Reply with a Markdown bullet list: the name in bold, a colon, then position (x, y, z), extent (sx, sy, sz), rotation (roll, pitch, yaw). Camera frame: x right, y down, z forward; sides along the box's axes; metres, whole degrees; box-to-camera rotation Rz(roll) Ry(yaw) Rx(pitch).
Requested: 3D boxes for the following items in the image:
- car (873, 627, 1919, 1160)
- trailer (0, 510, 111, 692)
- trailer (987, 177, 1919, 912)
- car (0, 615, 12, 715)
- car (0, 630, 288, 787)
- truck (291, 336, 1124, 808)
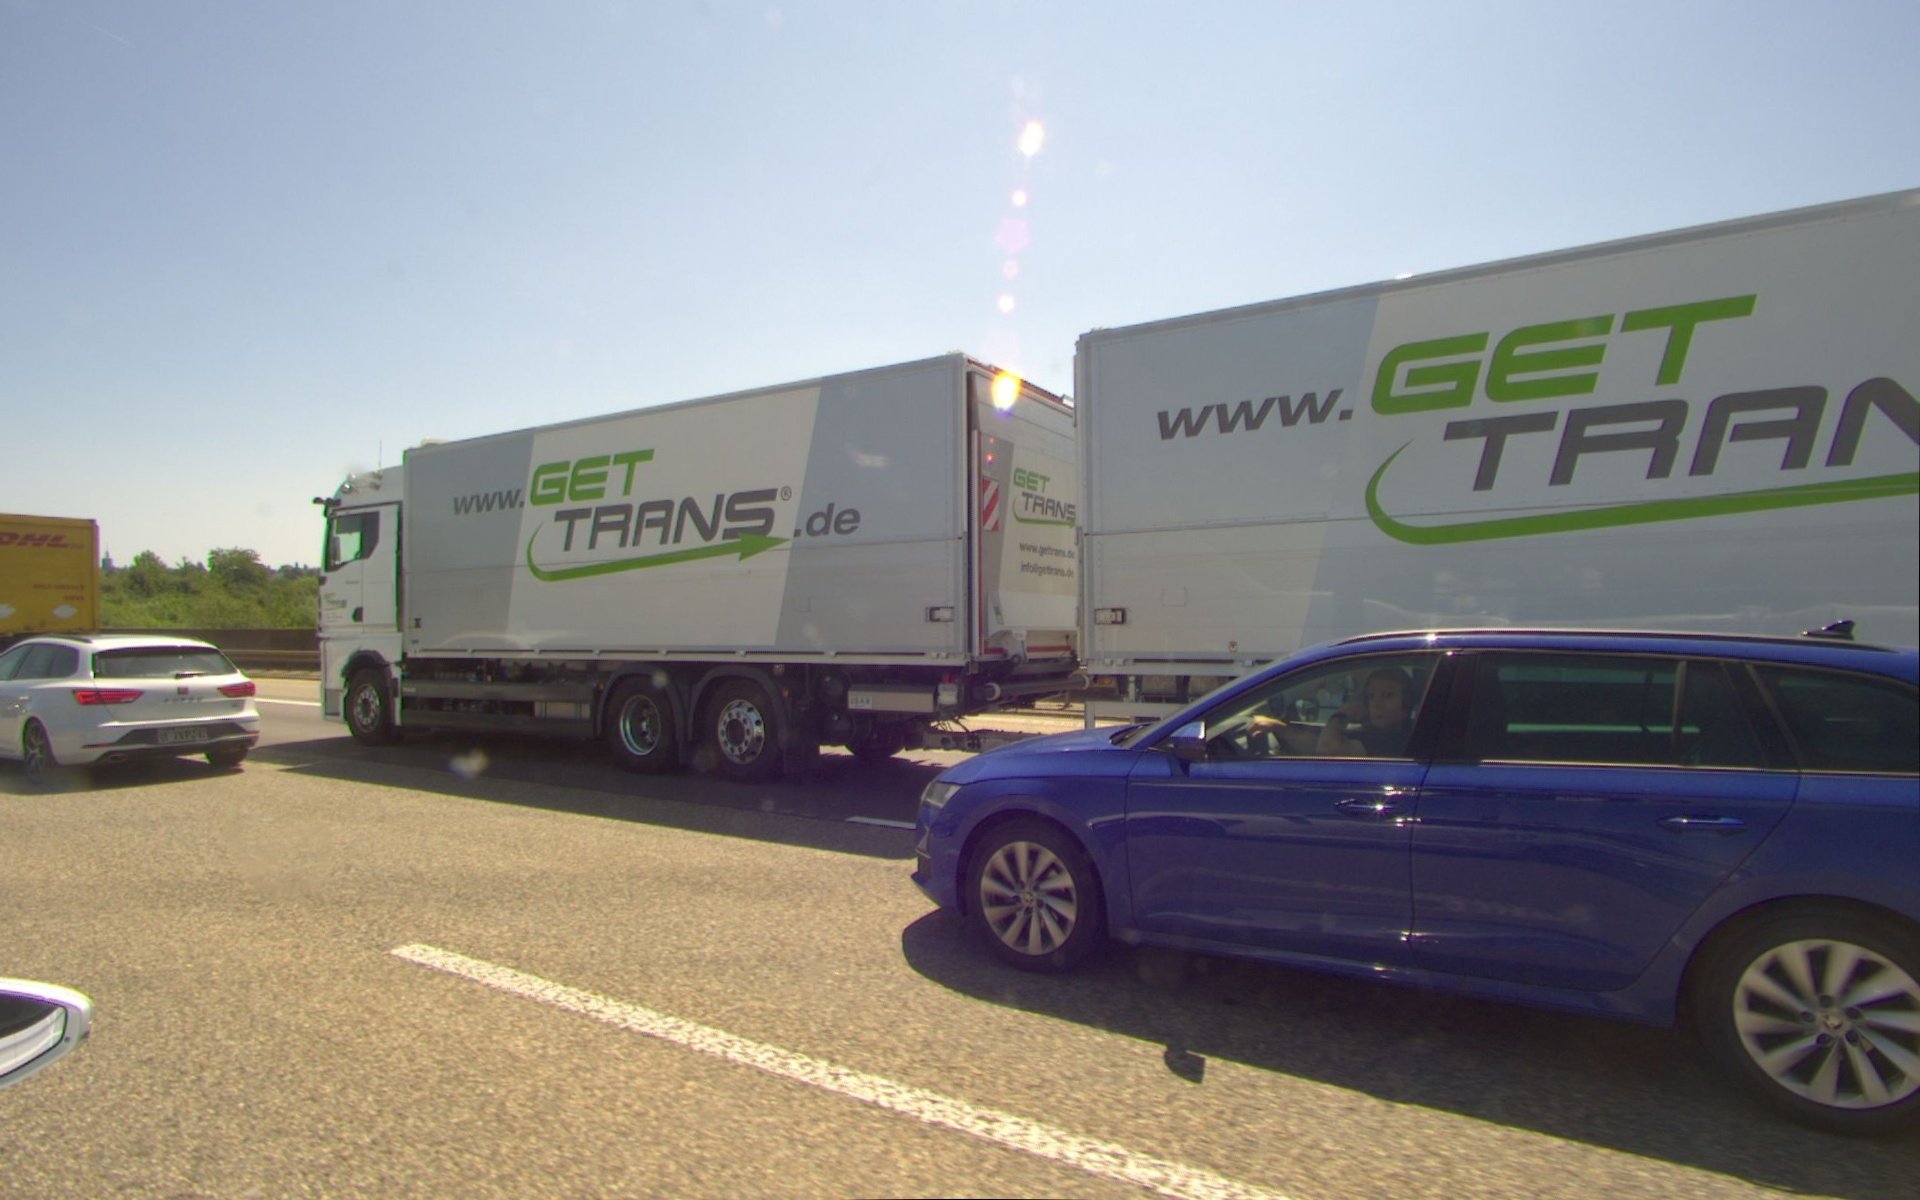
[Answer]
- **car**: position (1.918, 0.844, 4.199), extent (4.435, 1.459, 1.707), rotation (-1, -1, 32)
- **trailer**: position (-24.937, 0.142, 25.312), extent (8.802, 4.074, 2.698), rotation (-1, -2, 32)
- **trailer**: position (4.422, -0.226, 6.820), extent (8.170, 3.640, 2.840), rotation (-1, -1, 31)
- **car**: position (-17.761, 1.074, 16.747), extent (3.942, 1.629, 1.848), rotation (-1, -1, 32)
- **car**: position (-9.323, 1.036, 10.903), extent (4.127, 1.405, 1.779), rotation (-1, -1, 31)
- **truck**: position (-3.594, -0.062, 11.723), extent (10.612, 3.648, 2.847), rotation (-1, -2, 31)
